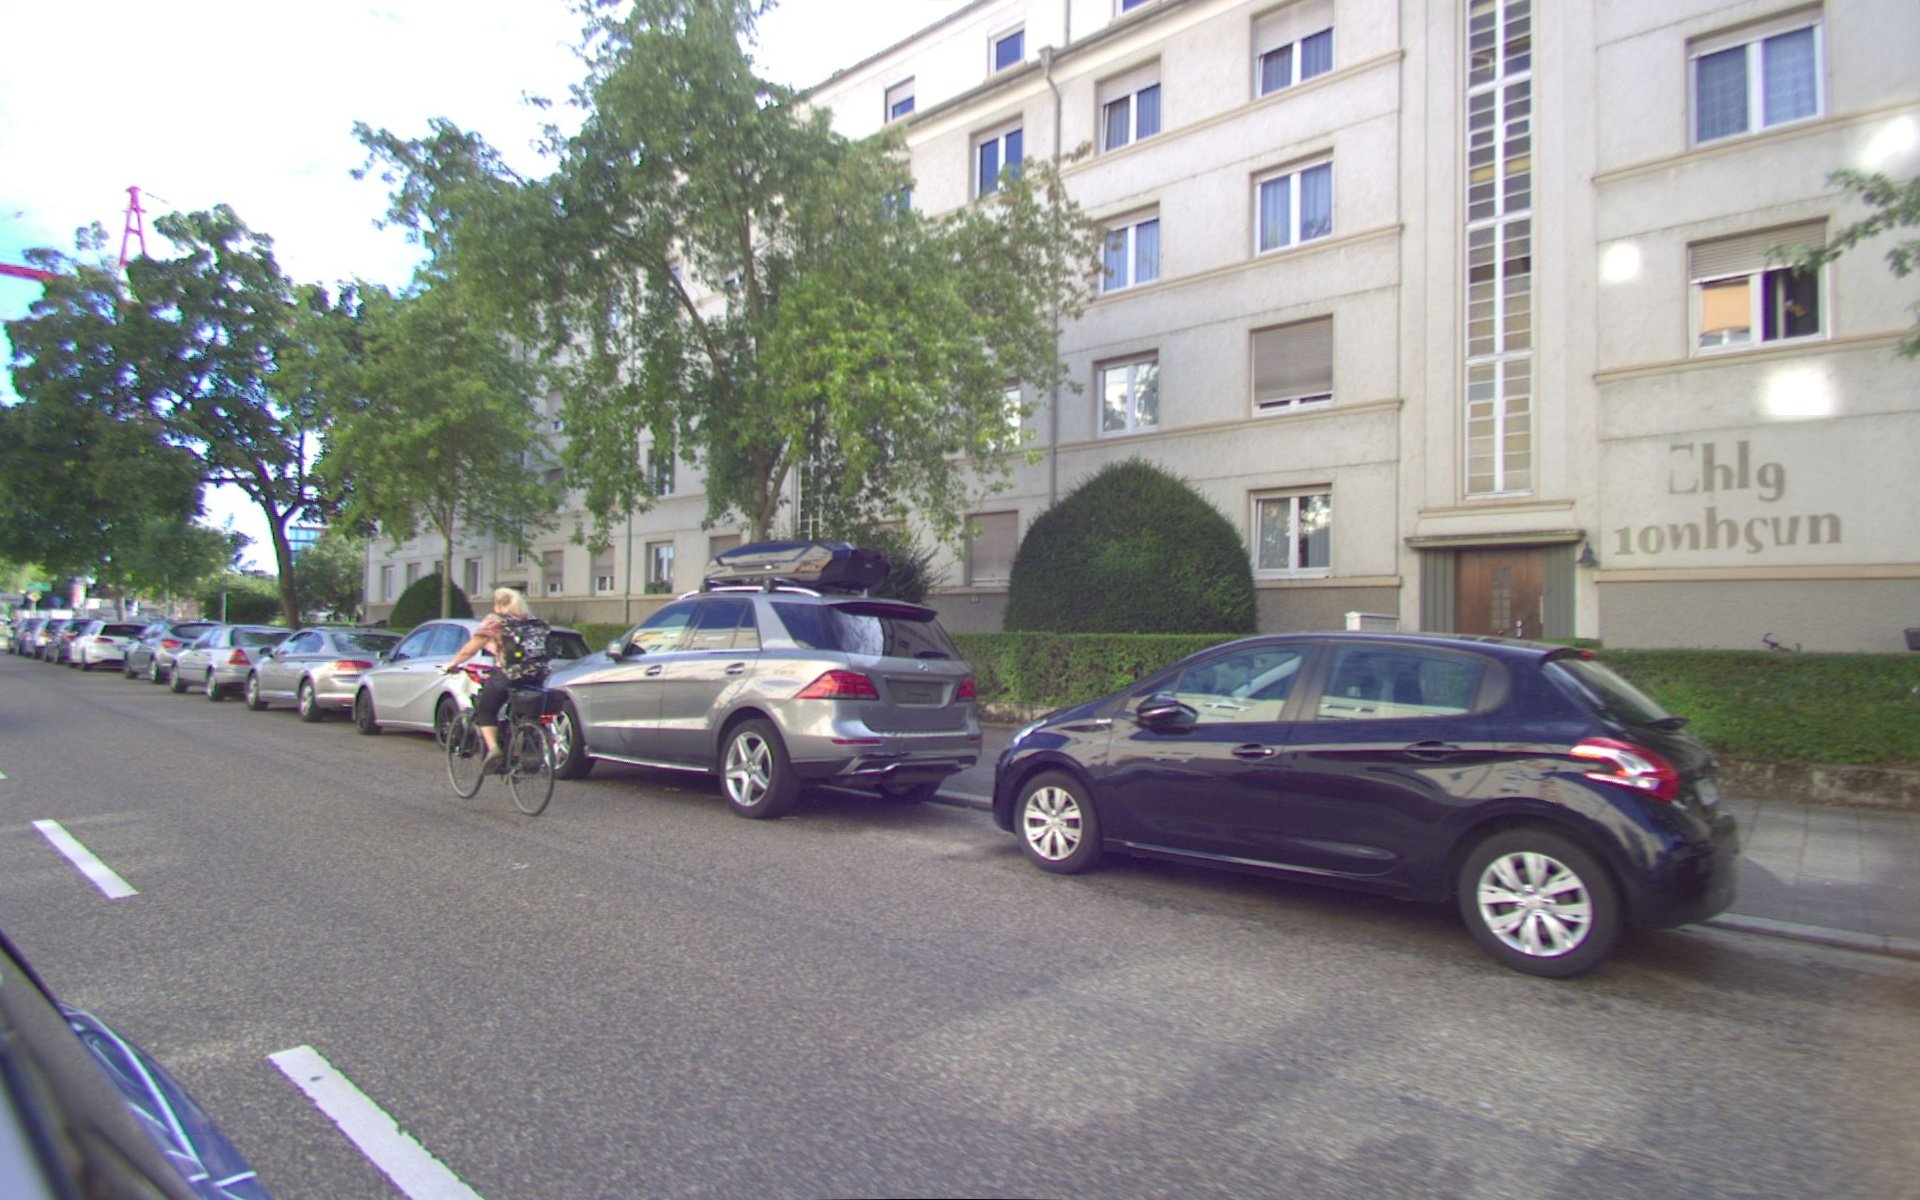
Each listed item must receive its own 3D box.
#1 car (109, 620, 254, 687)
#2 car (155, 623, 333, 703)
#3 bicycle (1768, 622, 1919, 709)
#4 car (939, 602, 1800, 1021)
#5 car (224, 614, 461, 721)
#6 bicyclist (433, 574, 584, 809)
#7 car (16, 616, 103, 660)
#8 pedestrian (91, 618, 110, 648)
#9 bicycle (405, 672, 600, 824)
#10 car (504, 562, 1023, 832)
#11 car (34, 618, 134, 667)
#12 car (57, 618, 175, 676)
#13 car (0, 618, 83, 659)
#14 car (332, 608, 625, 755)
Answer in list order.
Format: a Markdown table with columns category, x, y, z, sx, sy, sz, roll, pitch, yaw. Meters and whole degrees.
| category | x | y | z | sx | sy | sz | roll | pitch | yaw |
| --- | --- | --- | --- | --- | --- | --- | --- | --- | --- |
| car | -19.190 | 1.278 | 24.874 | 4.680 | 1.497 | 1.836 | -1 | -3 | 40 |
| car | -14.248 | 1.208 | 20.035 | 4.663 | 1.404 | 1.720 | -1 | -5 | 41 |
| bicycle | 11.488 | 0.826 | 13.126 | 1.540 | 1.064 | 0.536 | -1 | -2 | 41 |
| car | 1.969 | 0.852 | 5.657 | 4.118 | 1.492 | 1.667 | -1 | -6 | 42 |
| car | -10.170 | 1.053 | 16.492 | 4.942 | 1.497 | 1.836 | -1 | -5 | 41 |
| bicyclist | -3.365 | 0.643 | 7.536 | 0.990 | 1.613 | 0.634 | -1 | -3 | 42 |
| car | -32.679 | 1.371 | 36.691 | 4.367 | 1.497 | 1.801 | -1 | -4 | 42 |
| pedestrian | -51.473 | 1.991 | 60.618 | 0.775 | 1.781 | 0.734 | -1 | -2 | 40 |
| bicycle | -3.472 | 1.046 | 7.603 | 1.857 | 0.930 | 0.635 | -1 | -2 | 42 |
| car | -1.990 | 0.741 | 9.116 | 4.967 | 1.807 | 1.858 | -1 | -4 | 40 |
| car | -28.667 | 1.371 | 33.084 | 4.682 | 1.497 | 1.836 | -1 | -3 | 41 |
| car | -24.654 | 1.347 | 29.491 | 4.796 | 1.497 | 1.836 | -1 | -6 | 41 |
| car | -36.329 | 1.499 | 39.863 | 4.416 | 1.497 | 1.908 | -1 | -4 | 39 |
| car | -6.350 | 0.961 | 13.104 | 4.459 | 1.585 | 1.835 | -1 | -4 | 42 |
